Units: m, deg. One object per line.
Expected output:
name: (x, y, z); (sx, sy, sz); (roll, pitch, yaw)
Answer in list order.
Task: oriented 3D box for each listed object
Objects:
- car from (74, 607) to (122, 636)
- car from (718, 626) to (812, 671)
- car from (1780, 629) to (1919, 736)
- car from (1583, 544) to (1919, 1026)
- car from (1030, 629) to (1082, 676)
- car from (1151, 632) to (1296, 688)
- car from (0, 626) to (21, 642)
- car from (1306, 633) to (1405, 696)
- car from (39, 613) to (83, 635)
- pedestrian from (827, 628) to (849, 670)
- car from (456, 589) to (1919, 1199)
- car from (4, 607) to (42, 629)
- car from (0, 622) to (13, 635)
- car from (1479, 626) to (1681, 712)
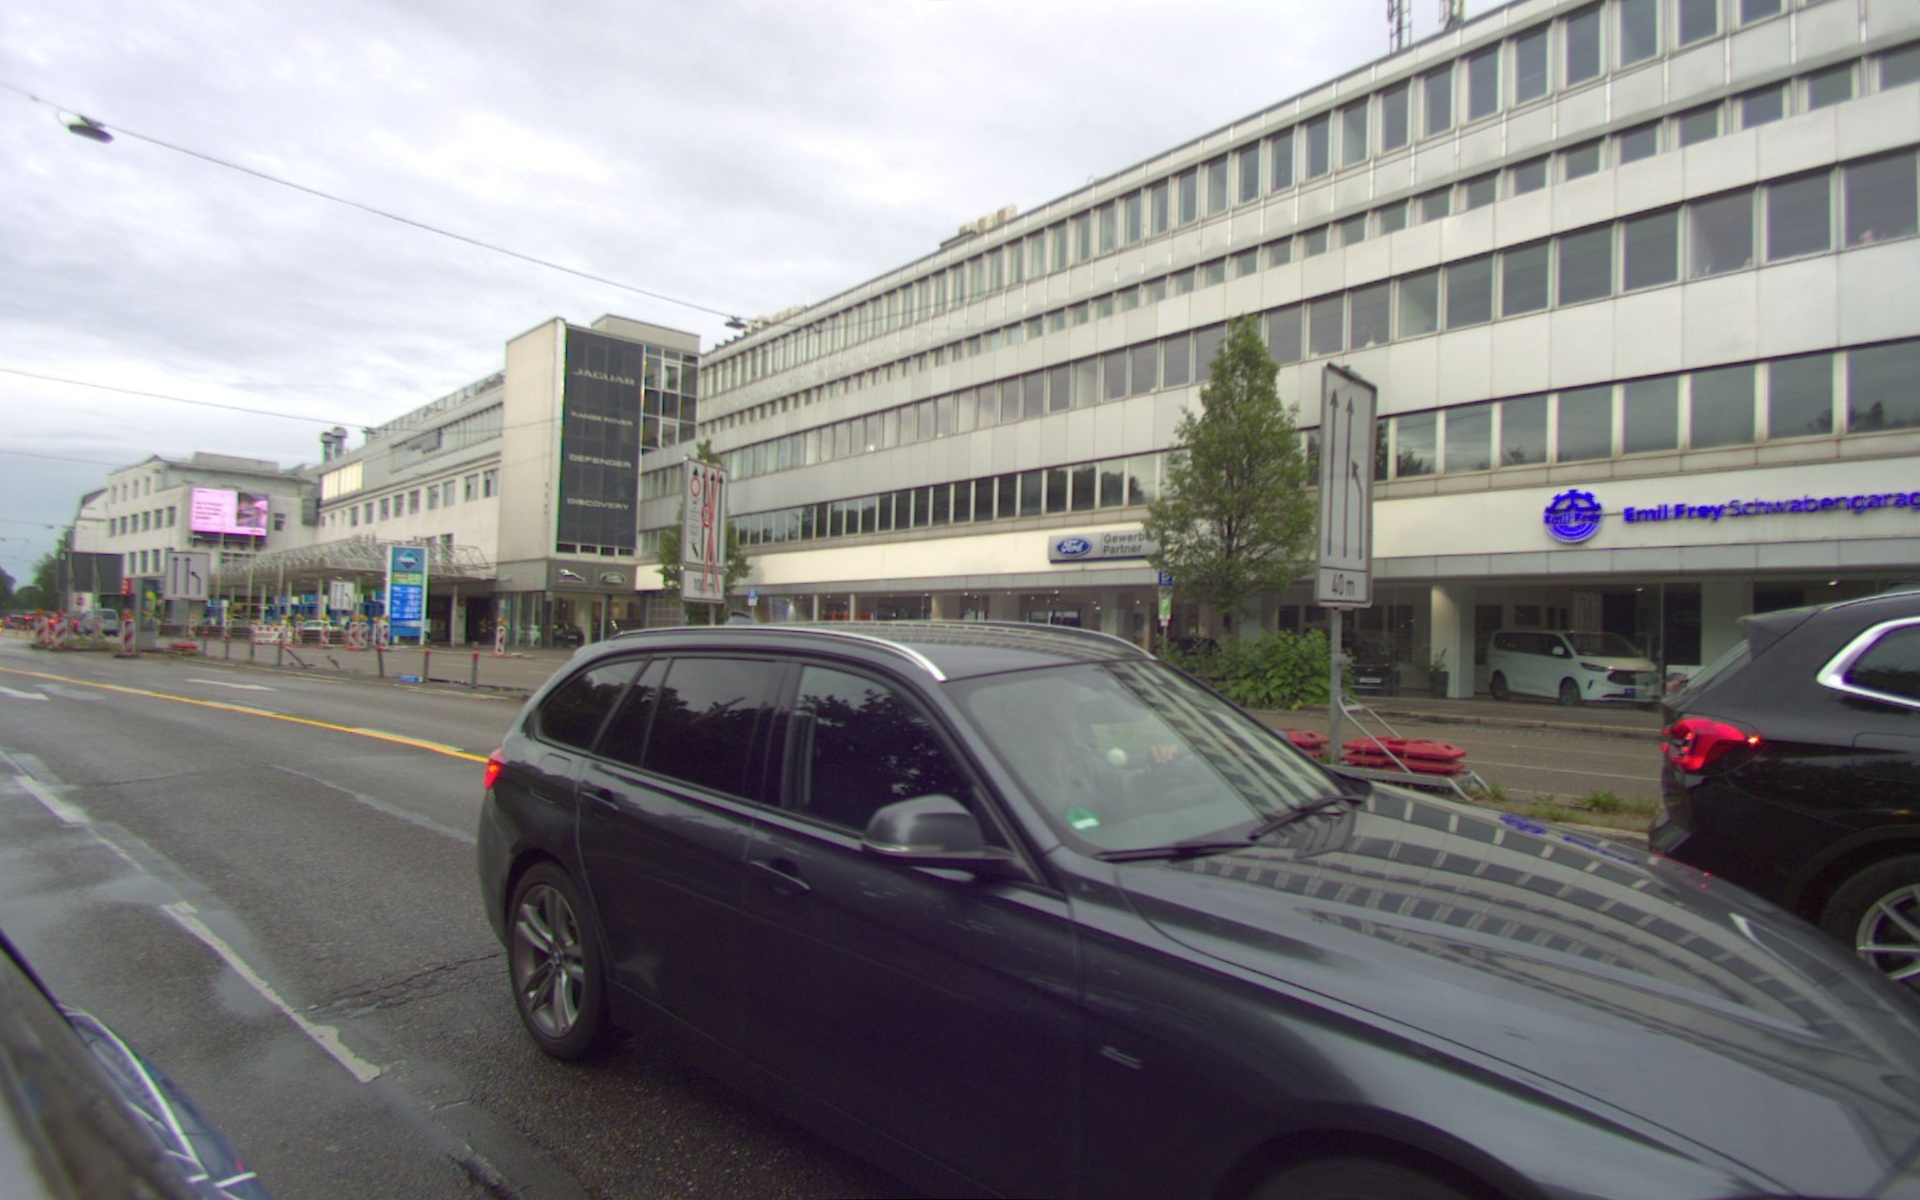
car: (-57.521, 1.446, 67.526); (4.299, 1.799, 1.715); (-1, -4, 41)
car: (-8.377, 2.054, 43.274); (1.825, 1.792, 4.737); (5, -4, -40)
car: (19.227, 1.660, 20.148); (1.976, 2.027, 5.195); (2, -3, 6)
car: (4.854, 0.584, 3.115); (4.672, 1.610, 1.925); (-2, -2, 45)
car: (3.708, 2.064, 39.357); (1.831, 1.664, 4.378); (2, -3, 5)
car: (8.130, 1.822, 31.450); (1.967, 1.586, 4.009); (4, -4, -36)
car: (-98.799, 3.474, 104.839); (4.300, 1.570, 1.788); (-1, -3, 42)
car: (11.147, 1.816, 28.771); (1.980, 1.586, 3.984); (1, -3, 12)
car: (-68.231, 1.832, 76.808); (4.369, 1.513, 1.811); (-1, -4, 40)
pedestrian: (-5.200, 2.077, 43.210); (0.709, 1.745, 0.539); (4, -4, -36)
car: (0.310, 0.737, 2.941); (4.176, 1.460, 1.741); (2, 2, 41)
car: (-81.219, 1.566, 87.744); (4.601, 1.751, 1.826); (-1, -3, 41)
car: (-134.319, 3.944, 141.589); (4.825, 1.720, 1.960); (0, -3, 39)
car: (15.680, 1.734, 25.988); (1.971, 1.912, 4.990); (2, -3, -2)
